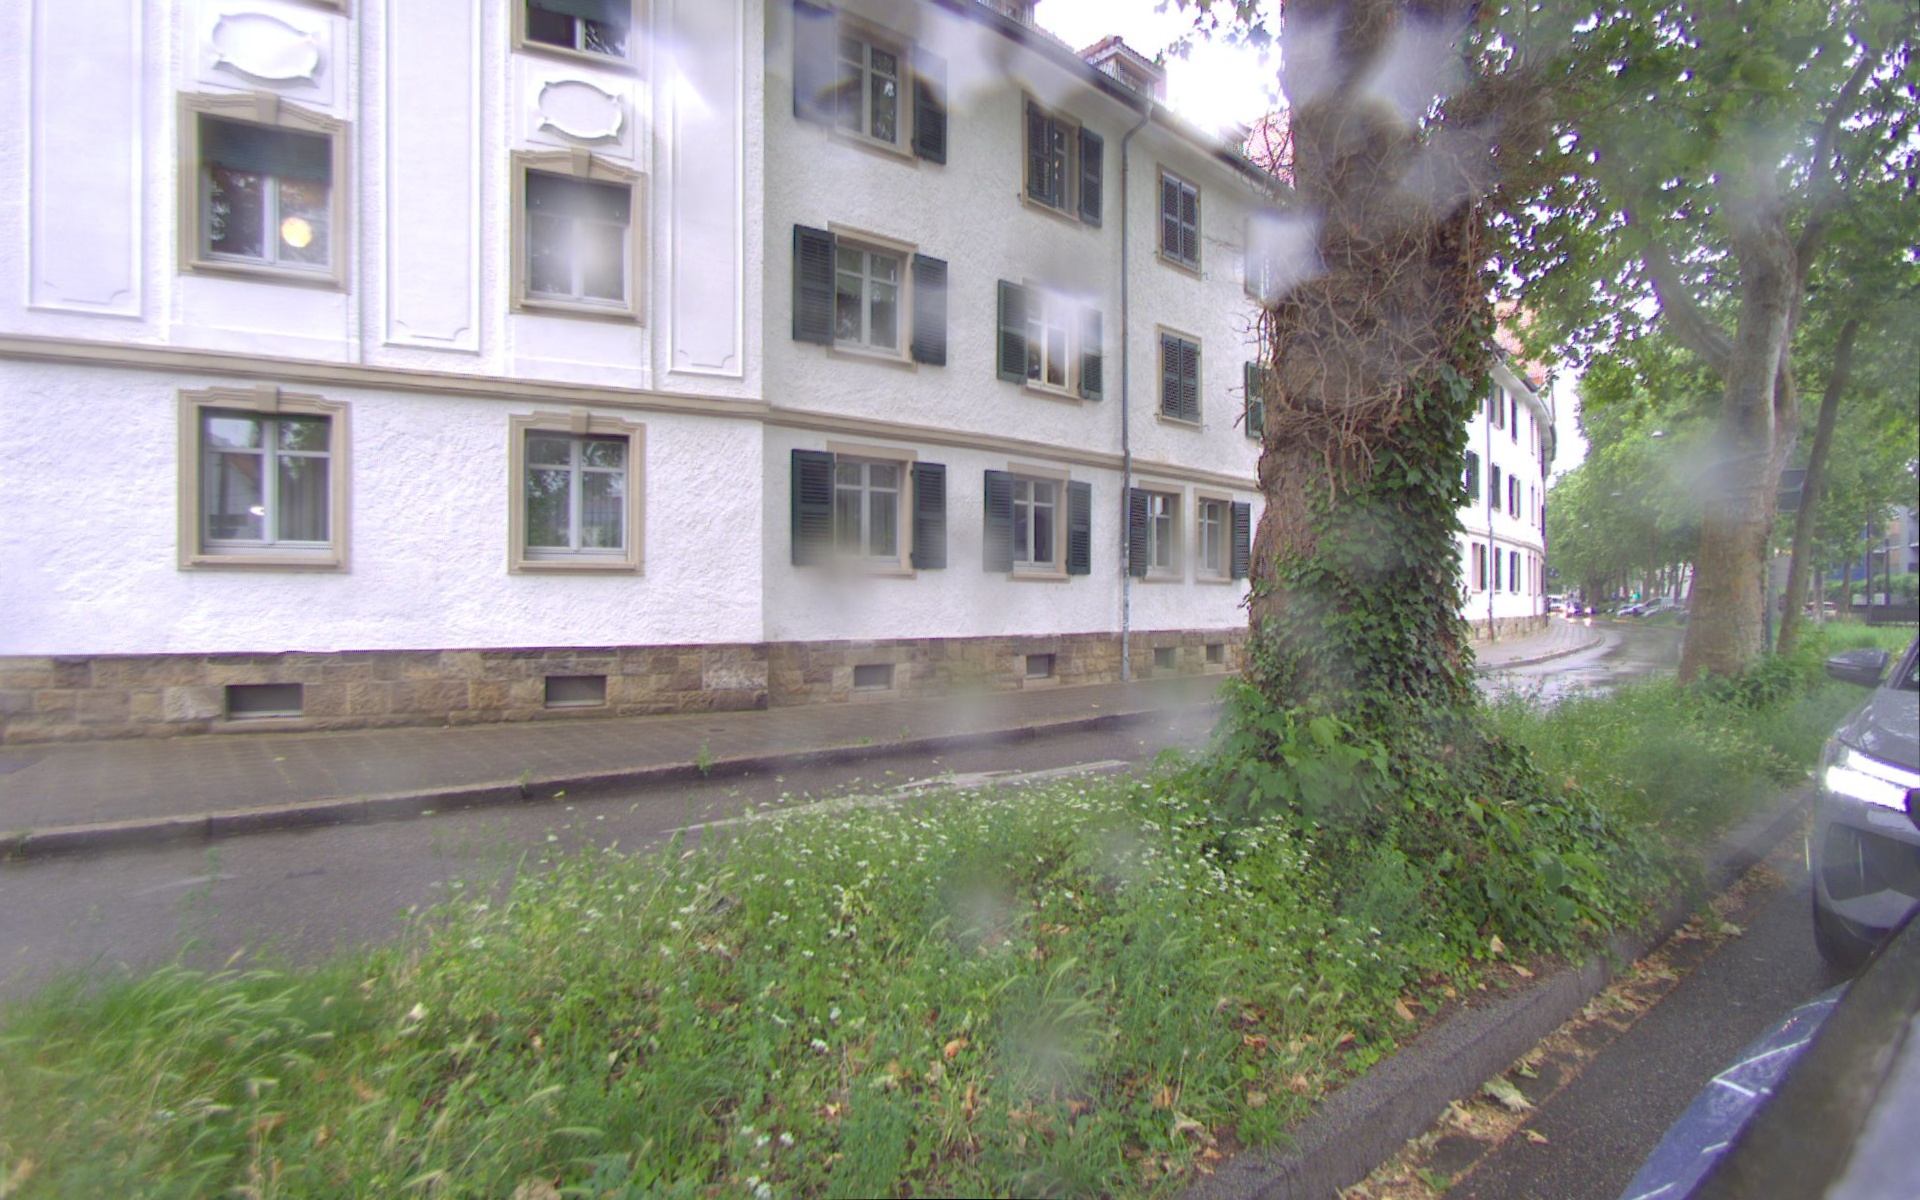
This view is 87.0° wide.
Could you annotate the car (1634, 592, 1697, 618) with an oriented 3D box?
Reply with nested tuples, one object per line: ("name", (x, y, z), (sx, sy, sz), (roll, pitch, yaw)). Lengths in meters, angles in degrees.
("car", (55.903, 0.394, 80.297), (3.969, 2.039, 1.977), (0, -1, 32))

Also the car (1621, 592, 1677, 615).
("car", (60.766, 0.293, 89.280), (3.969, 2.039, 1.977), (0, -1, 32))

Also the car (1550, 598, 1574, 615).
("car", (82.390, 0.812, 138.582), (2.173, 2.292, 5.366), (0, 0, 24))

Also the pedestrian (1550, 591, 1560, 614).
("pedestrian", (49.510, 0.197, 84.223), (0.668, 1.845, 0.672), (0, 0, 31))

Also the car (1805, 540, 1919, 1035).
("car", (5.136, 0.621, 4.314), (4.039, 1.662, 1.913), (0, 0, -44))
